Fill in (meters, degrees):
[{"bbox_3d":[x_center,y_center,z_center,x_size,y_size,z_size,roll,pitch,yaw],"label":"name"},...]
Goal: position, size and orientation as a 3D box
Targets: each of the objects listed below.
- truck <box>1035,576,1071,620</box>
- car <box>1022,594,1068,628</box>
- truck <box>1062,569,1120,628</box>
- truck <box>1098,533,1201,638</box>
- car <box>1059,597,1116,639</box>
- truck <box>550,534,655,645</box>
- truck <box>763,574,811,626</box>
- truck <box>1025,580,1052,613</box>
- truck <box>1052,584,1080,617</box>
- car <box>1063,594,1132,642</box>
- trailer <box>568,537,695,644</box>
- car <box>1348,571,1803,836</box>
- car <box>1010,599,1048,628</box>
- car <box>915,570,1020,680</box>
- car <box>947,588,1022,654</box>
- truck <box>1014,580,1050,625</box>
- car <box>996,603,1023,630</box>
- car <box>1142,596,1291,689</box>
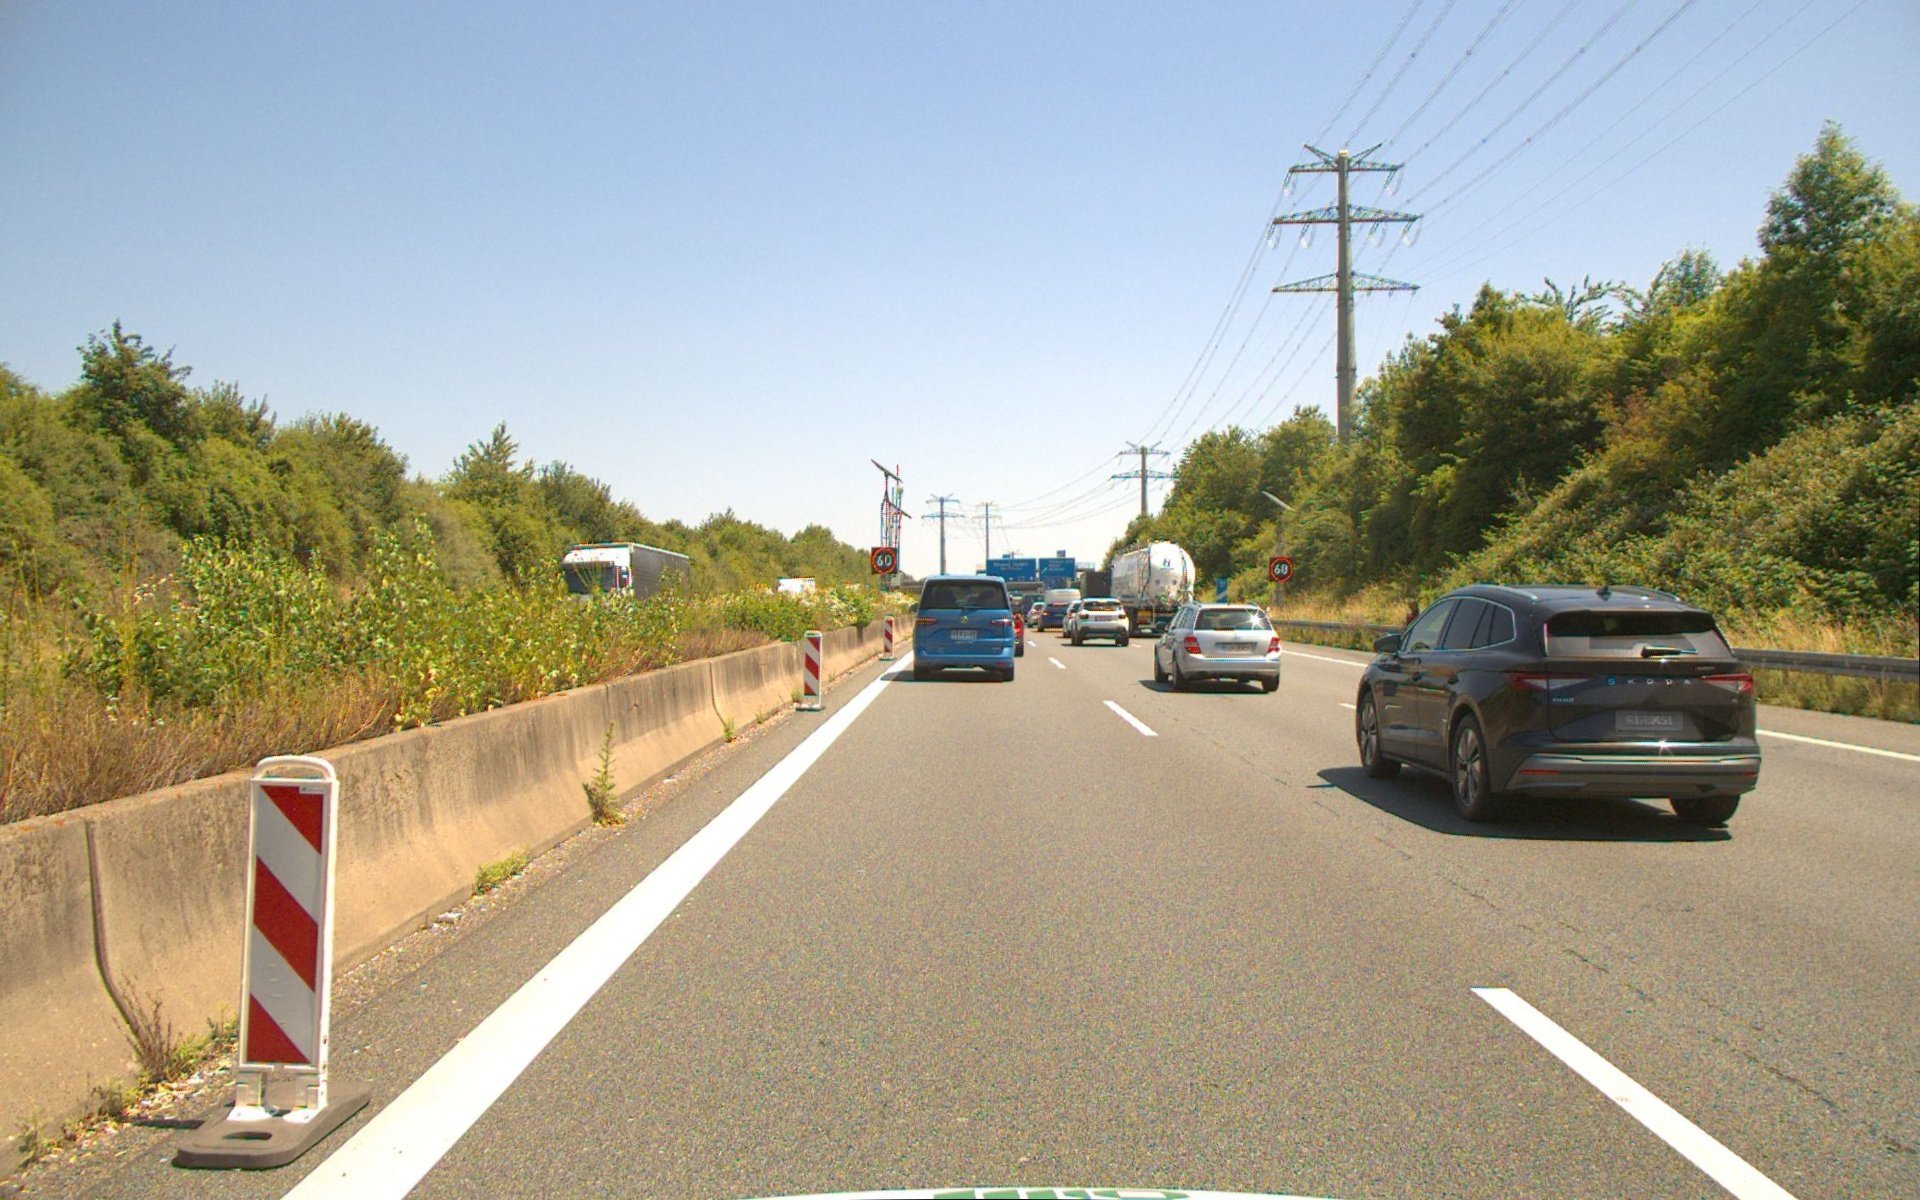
[{"bbox_3d":[9.659,-0.168,173.145,2.878,4.366,12.550,1,0,0],"label":"truck"},{"bbox_3d":[4.091,0.525,80.306,1.870,1.542,4.382,1,0,-1],"label":"car"},{"bbox_3d":[8.388,-0.088,107.093,2.591,3.600,12.550,1,0,0],"label":"truck"},{"bbox_3d":[8.255,-0.574,74.398,2.591,4.143,16.438,1,0,0],"label":"truck"},{"bbox_3d":[5.137,0.718,67.046,1.870,1.597,4.382,1,0,-1],"label":"car"},{"bbox_3d":[-14.687,-0.411,68.455,2.695,4.239,6.411,-3,0,0],"label":"truck"},{"bbox_3d":[-13.958,-0.009,134.234,2.706,3.956,9.029,-3,0,0],"label":"truck"},{"bbox_3d":[10.873,-0.507,230.064,2.878,4.366,12.550,1,0,0],"label":"truck"},{"bbox_3d":[9.131,0.061,142.966,1.953,2.771,5.679,1,0,0],"label":"truck"},{"bbox_3d":[4.567,0.576,55.365,1.870,1.534,3.920,1,0,-1],"label":"car"},{"bbox_3d":[-14.686,-0.404,75.256,2.697,4.239,14.196,-3,0,0],"label":"trailer"},{"bbox_3d":[4.370,0.640,12.561,1.791,1.642,4.430,0,0,0],"label":"car"},{"bbox_3d":[3.911,0.749,93.848,1.870,1.542,4.382,1,0,-1],"label":"car"},{"bbox_3d":[0.071,0.450,31.507,1.833,1.912,4.382,1,0,-2],"label":"car"},{"bbox_3d":[0.605,0.539,44.123,1.869,1.659,4.383,0,0,-1],"label":"car"},{"bbox_3d":[4.594,0.132,106.070,1.953,2.771,5.679,1,0,0],"label":"truck"},{"bbox_3d":[3.818,1.265,128.682,1.953,2.049,3.999,1,0,0],"label":"car"},{"bbox_3d":[4.346,0.682,28.625,1.784,1.462,4.382,1,0,-1],"label":"car"}]
